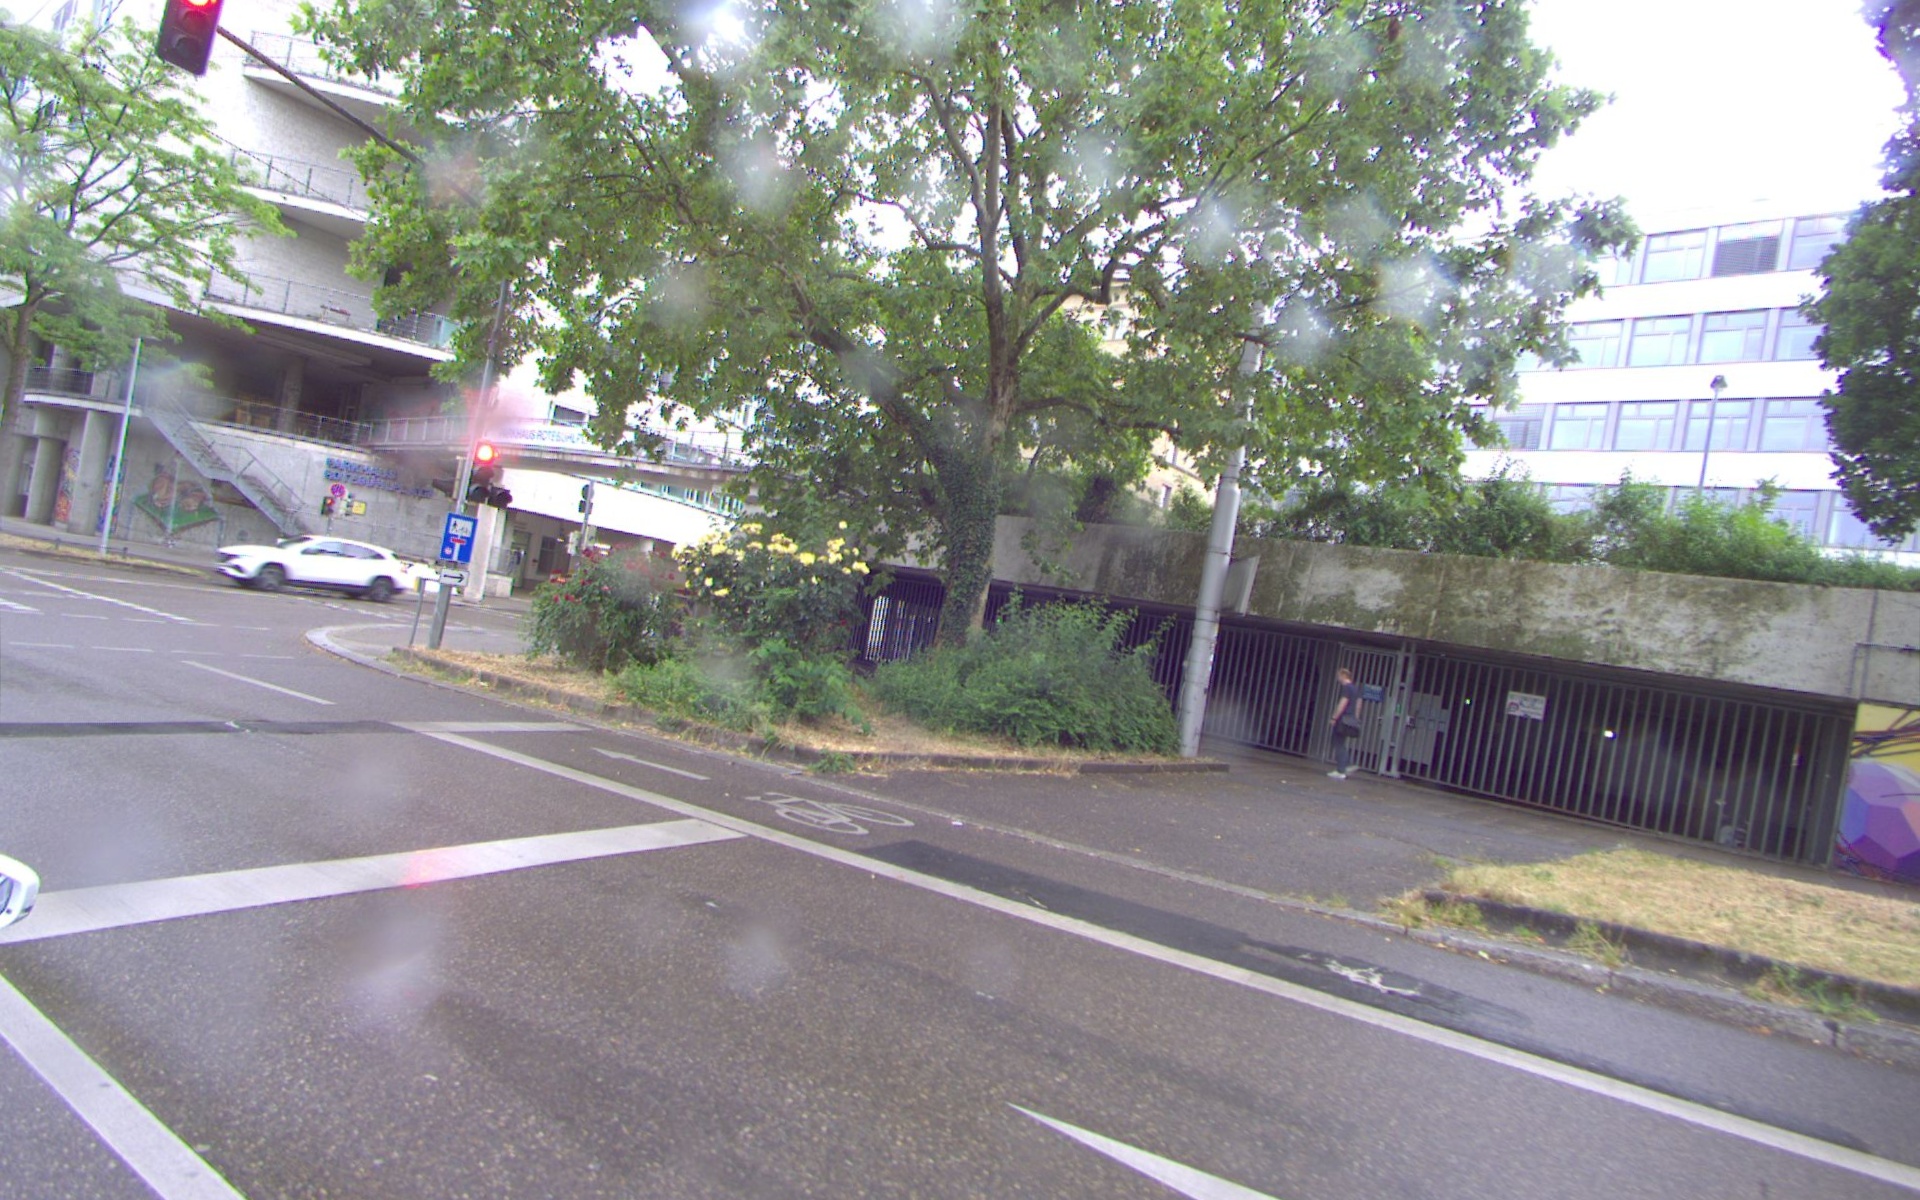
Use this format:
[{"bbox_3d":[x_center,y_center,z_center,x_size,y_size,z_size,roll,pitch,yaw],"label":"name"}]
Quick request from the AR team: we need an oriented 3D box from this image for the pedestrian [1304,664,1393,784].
[{"bbox_3d":[6.744,2.141,17.466,1.041,1.886,0.806,7,-1,41],"label":"pedestrian"}]

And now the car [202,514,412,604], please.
[{"bbox_3d":[-17.586,-1.013,27.320,1.725,1.700,4.351,0,-7,34],"label":"car"}]
